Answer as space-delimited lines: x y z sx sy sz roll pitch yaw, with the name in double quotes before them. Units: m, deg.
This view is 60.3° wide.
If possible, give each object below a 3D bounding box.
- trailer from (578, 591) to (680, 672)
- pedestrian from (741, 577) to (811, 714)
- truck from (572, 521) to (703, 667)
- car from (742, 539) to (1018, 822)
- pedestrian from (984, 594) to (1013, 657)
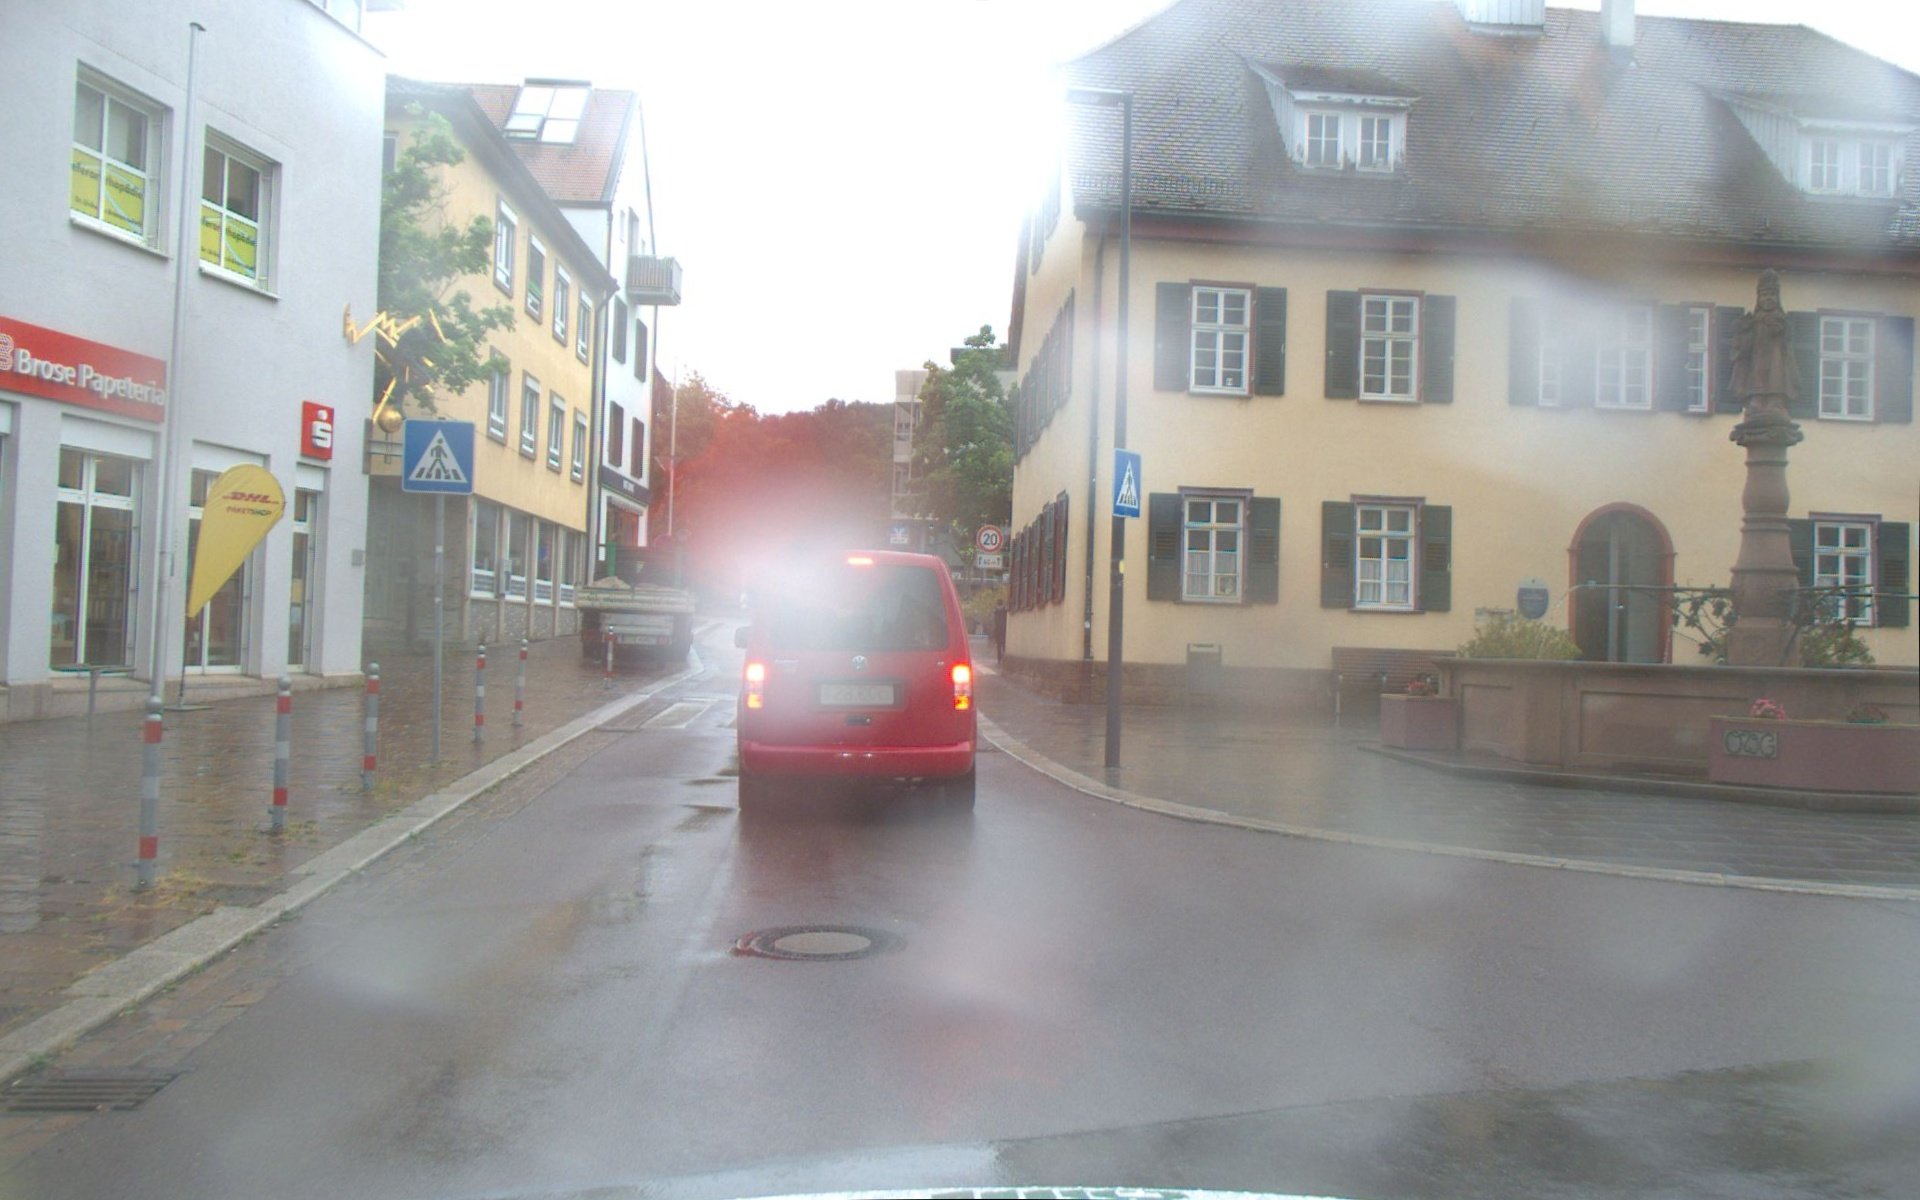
"trailer" -6.180 0.559 31.108 1.696 1.370 3.155 1 1 -9
"pedestrian" -2.373 0.579 21.306 0.848 1.722 0.715 1 0 -7
"truck" -6.861 -0.173 35.919 2.427 2.844 6.587 1 1 -8
"car" -0.779 0.547 13.101 1.827 1.863 4.178 1 0 -7
"pedestrian" 1.005 0.662 43.751 0.713 1.645 0.693 1 -1 -1
